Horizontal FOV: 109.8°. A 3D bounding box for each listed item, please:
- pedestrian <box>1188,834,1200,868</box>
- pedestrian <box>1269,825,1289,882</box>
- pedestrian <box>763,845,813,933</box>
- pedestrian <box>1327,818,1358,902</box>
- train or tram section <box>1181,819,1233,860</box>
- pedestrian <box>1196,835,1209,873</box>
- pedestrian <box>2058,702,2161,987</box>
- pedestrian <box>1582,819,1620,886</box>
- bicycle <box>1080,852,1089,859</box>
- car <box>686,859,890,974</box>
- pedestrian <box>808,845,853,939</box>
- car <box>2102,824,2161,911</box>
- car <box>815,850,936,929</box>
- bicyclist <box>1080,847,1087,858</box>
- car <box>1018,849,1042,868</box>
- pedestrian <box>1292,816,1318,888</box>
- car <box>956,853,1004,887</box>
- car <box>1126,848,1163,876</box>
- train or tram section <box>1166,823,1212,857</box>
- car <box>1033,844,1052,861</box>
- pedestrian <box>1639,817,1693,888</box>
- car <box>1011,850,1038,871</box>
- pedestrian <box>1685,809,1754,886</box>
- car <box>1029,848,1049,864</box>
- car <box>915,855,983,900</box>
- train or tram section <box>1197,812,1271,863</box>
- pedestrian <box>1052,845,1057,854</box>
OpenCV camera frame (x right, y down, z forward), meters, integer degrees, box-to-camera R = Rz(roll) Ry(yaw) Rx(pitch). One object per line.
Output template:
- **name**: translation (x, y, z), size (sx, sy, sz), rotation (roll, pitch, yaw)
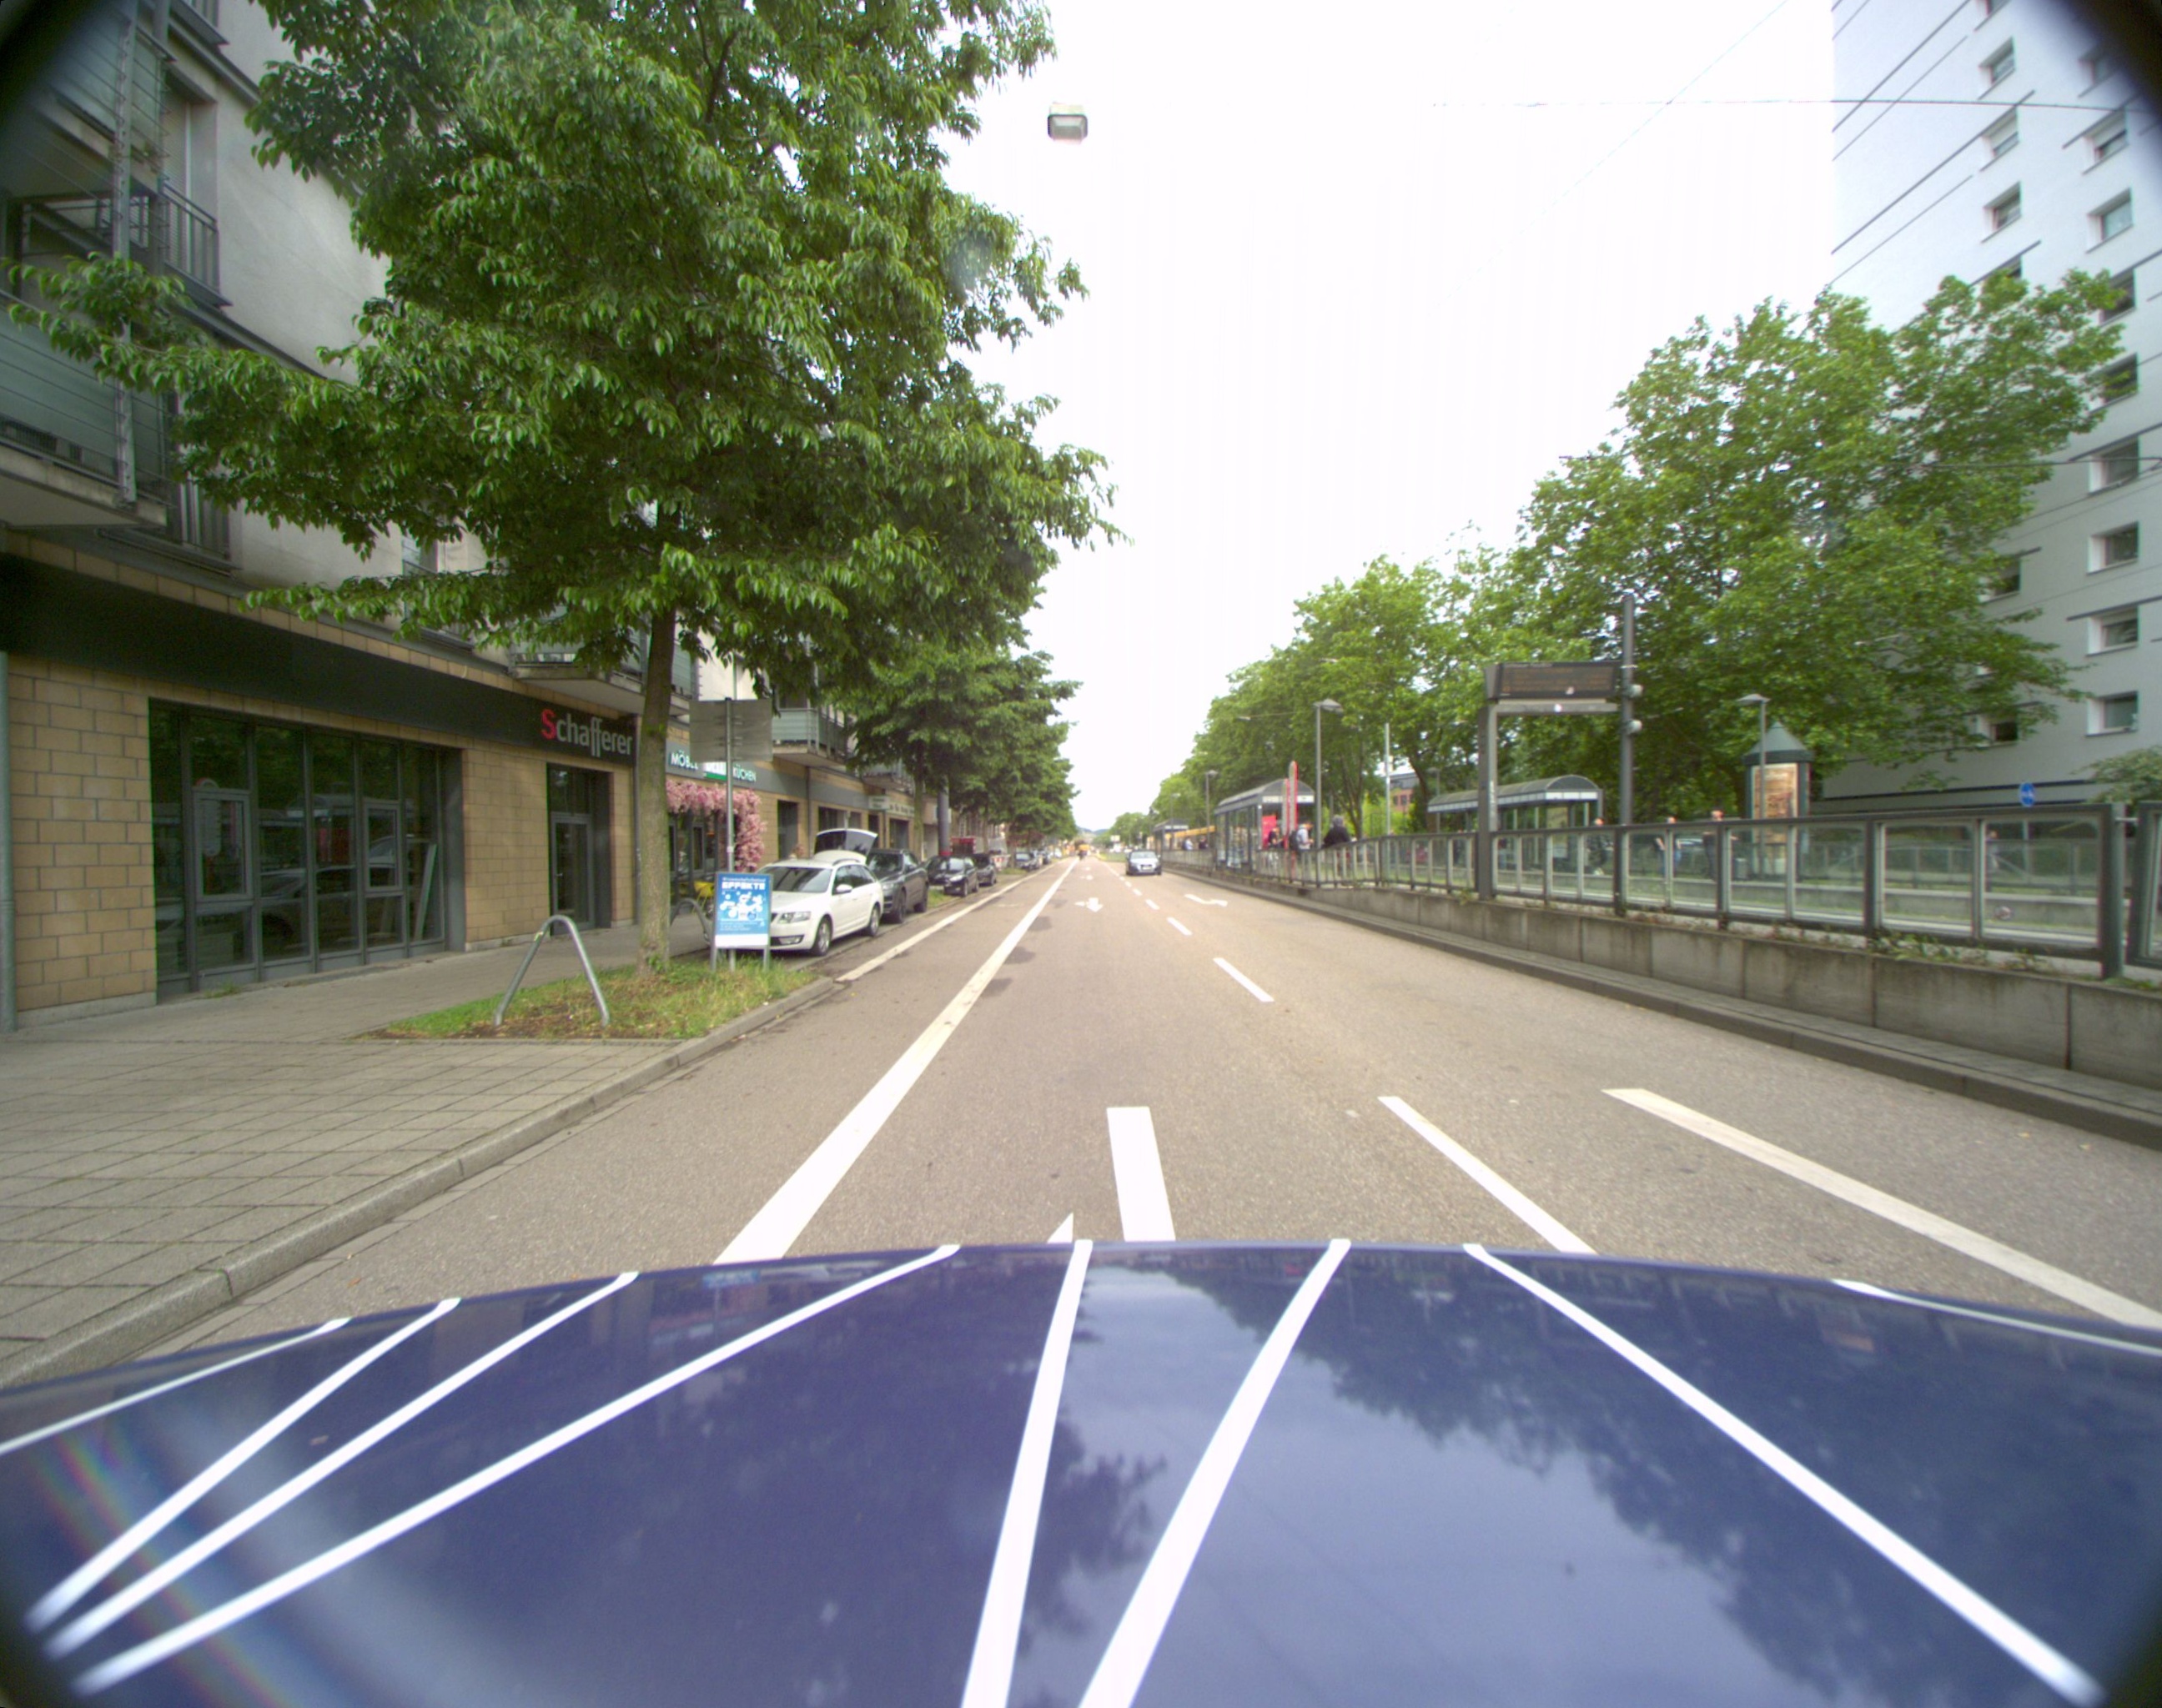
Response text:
- **pedestrian**: translation (6.136, -0.177, 41.339), size (0.530, 1.794, 0.606), rotation (-2, 1, 14)
- **pedestrian**: translation (6.309, -0.026, 24.198), size (0.474, 1.794, 0.606), rotation (-2, 1, 26)
- **pedestrian**: translation (-5.885, 0.673, 15.280), size (0.616, 1.707, 0.740), rotation (2, 2, 43)
- **pedestrian**: translation (5.702, 0.121, 16.578), size (0.521, 1.794, 0.605), rotation (-2, 1, 13)
- **train or tram section**: translation (12.765, -1.471, 78.288), size (3.338, 3.731, 12.547), rotation (-2, 1, 1)
- **pedestrian**: translation (5.843, 0.000, 36.522), size (0.530, 1.794, 0.606), rotation (-2, 1, 14)
- **pedestrian**: translation (6.659, -0.067, 4.408), size (0.720, 1.661, 0.979), rotation (-2, 1, 3)
- **pedestrian**: translation (15.337, -0.055, 22.418), size (0.699, 1.919, 0.554), rotation (-2, 1, 1)
- **bicycle**: translation (0.486, 0.257, 105.383), size (0.492, 0.925, 1.778), rotation (-3, 1, -29)
- **car**: translation (-4.723, 0.901, 12.999), size (1.738, 1.512, 4.308), rotation (2, 1, 1)
- **pedestrian**: translation (-5.131, 0.759, 15.591), size (0.656, 1.873, 0.599), rotation (-1, 1, 1)
- **car**: translation (20.881, 0.217, 12.818), size (1.936, 1.543, 3.993), rotation (-3, 1, -22)
- **car**: translation (-4.719, 0.742, 18.002), size (1.738, 1.601, 3.798), rotation (2, 1, 1)
- **bicyclist**: translation (0.356, -0.226, 105.427), size (0.727, 1.458, 0.811), rotation (-2, 1, -29)
- **car**: translation (-4.129, 0.363, 62.163), size (1.612, 1.393, 3.667), rotation (2, 1, 1)
- **pedestrian**: translation (5.744, -0.062, 19.481), size (0.475, 1.794, 0.605), rotation (-2, 1, 5)
- **car**: translation (-4.561, 0.684, 34.735), size (1.612, 1.393, 3.667), rotation (2, 1, 1)
- **car**: translation (3.471, 0.390, 42.118), size (1.716, 1.379, 4.099), rotation (-2, 1, 1)
- **train or tram section**: translation (12.903, -1.639, 92.701), size (3.338, 3.731, 16.247), rotation (-2, 1, 1)
- **car**: translation (-3.969, -0.143, 78.219), size (1.612, 1.674, 3.806), rotation (2, 1, 1)
- **pedestrian**: translation (15.595, -0.034, 20.272), size (0.882, 1.823, 0.666), rotation (-2, 1, 1)
- **car**: translation (-4.169, 0.477, 56.274), size (1.612, 1.393, 3.667), rotation (2, 1, 1)
- **pedestrian**: translation (15.078, -0.163, 17.968), size (0.882, 1.746, 0.850), rotation (-2, 1, 1)
- **car**: translation (-3.975, 0.207, 72.449), size (1.612, 1.393, 3.667), rotation (2, 1, 1)
- **car**: translation (-4.641, 0.794, 27.274), size (1.612, 1.370, 4.167), rotation (2, 1, 1)
- **train or tram section**: translation (12.602, -1.309, 64.444), size (3.338, 3.731, 15.201), rotation (-2, 1, 1)
- **pedestrian**: translation (-6.077, -1.022, 173.646), size (1.216, 2.002, 1.142), rotation (-1, 1, 1)
